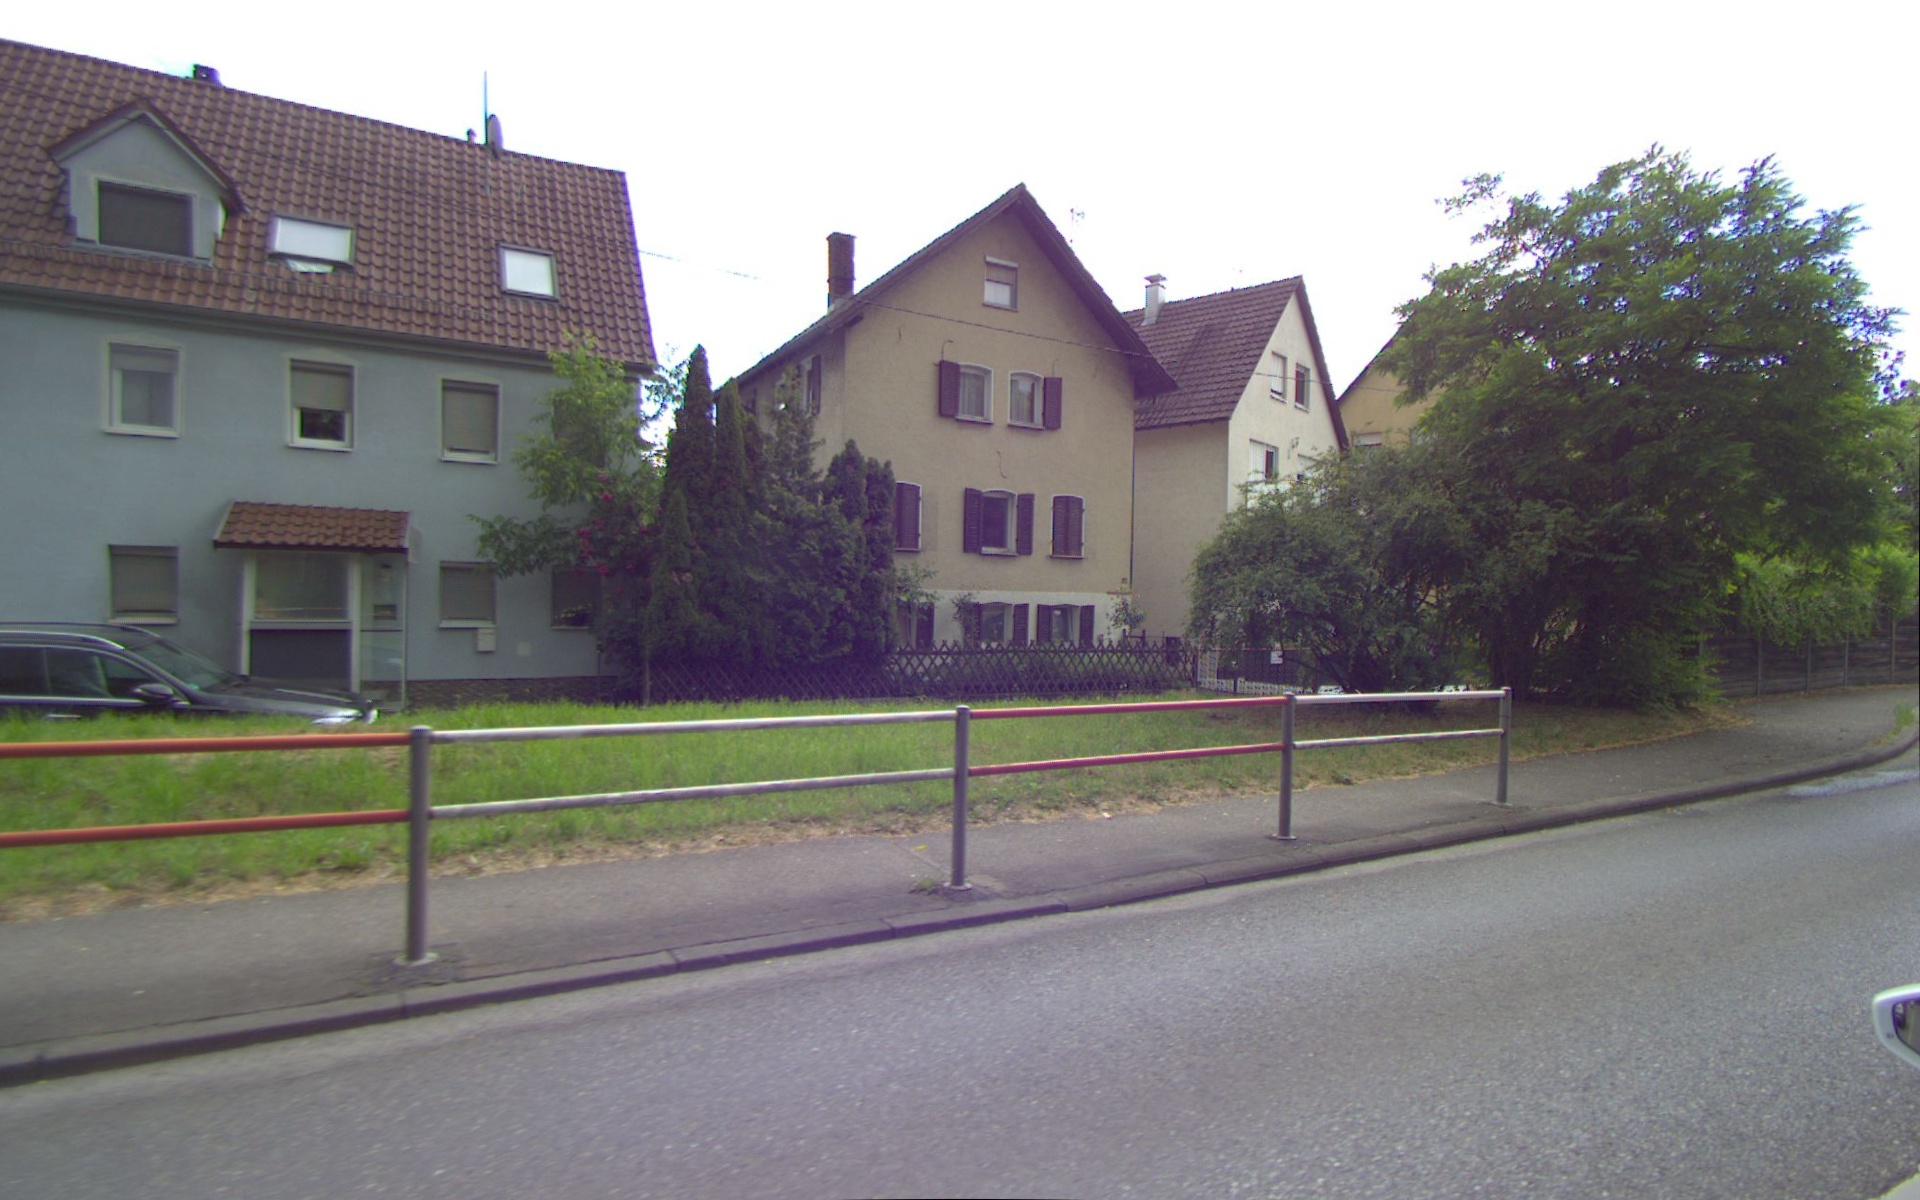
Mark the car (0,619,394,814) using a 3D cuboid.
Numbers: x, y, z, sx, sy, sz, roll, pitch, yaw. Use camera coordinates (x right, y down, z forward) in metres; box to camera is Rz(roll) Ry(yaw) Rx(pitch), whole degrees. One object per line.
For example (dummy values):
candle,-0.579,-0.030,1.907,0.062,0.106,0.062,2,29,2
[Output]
car,-8.093,1.077,10.130,3.945,1.717,1.916,2,-2,-25
